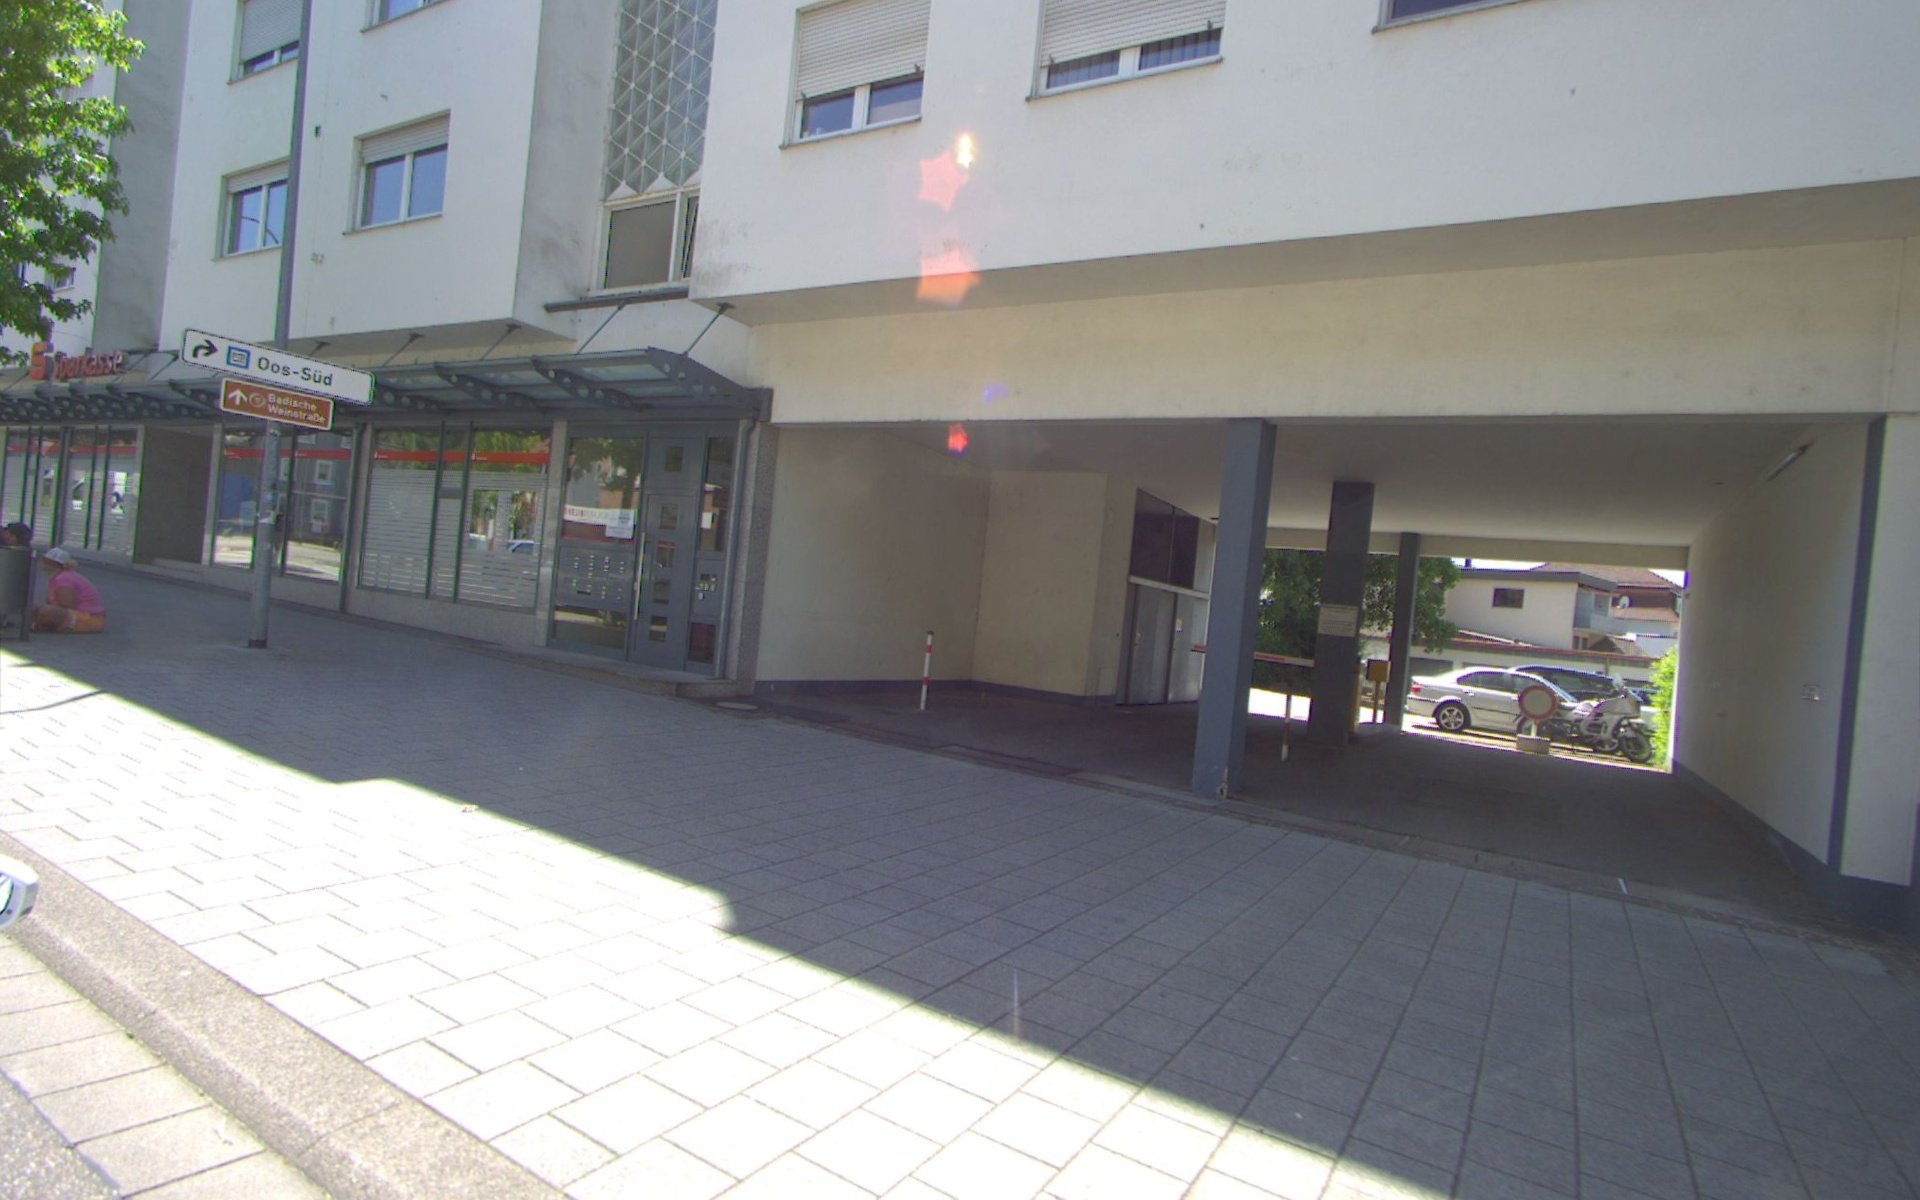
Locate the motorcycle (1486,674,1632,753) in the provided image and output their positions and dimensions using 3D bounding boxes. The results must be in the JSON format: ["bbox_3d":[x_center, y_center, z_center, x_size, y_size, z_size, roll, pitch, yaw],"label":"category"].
[{"bbox_3d":[13.100,2.436,22.079,2.560,1.308,1.307,6,0,32],"label":"motorcycle"}]

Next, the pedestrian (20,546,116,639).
[{"bbox_3d":[-9.078,-0.069,10.237,0.675,0.863,0.531,5,2,-44],"label":"pedestrian"}]

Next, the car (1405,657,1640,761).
[{"bbox_3d":[11.476,2.169,20.702,3.934,1.471,1.731,6,0,32],"label":"car"}]

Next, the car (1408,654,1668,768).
[{"bbox_3d":[10.738,1.998,18.901,3.934,1.471,1.731,6,0,32],"label":"car"}]

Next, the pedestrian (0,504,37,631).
[{"bbox_3d":[-9.860,-0.358,10.128,0.757,1.256,0.531,5,1,-44],"label":"pedestrian"}]
